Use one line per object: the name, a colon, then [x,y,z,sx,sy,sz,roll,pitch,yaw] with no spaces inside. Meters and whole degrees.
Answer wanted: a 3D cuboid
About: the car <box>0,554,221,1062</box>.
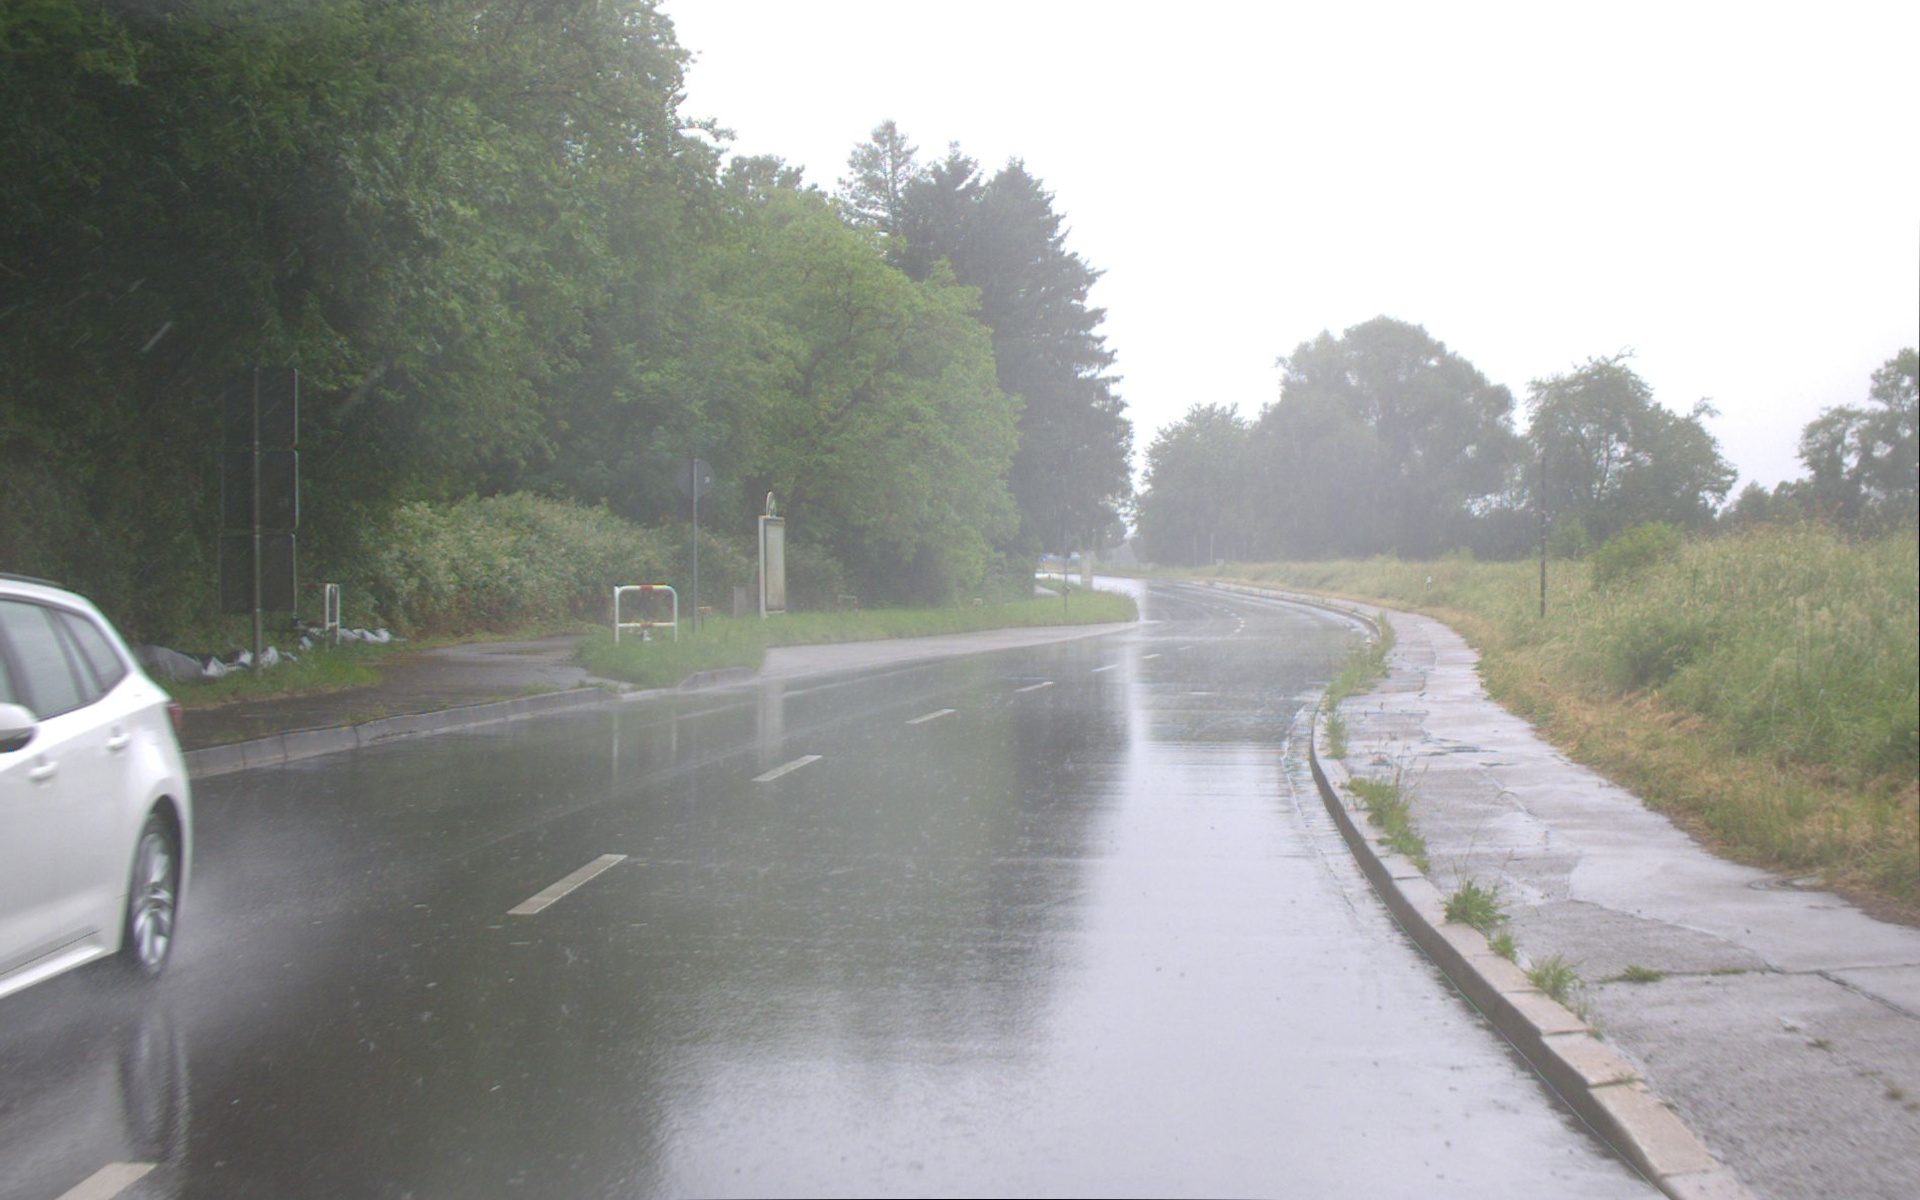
car: [-3.596,0.582,10.077,1.786,1.414,4.634,1,1,1]
